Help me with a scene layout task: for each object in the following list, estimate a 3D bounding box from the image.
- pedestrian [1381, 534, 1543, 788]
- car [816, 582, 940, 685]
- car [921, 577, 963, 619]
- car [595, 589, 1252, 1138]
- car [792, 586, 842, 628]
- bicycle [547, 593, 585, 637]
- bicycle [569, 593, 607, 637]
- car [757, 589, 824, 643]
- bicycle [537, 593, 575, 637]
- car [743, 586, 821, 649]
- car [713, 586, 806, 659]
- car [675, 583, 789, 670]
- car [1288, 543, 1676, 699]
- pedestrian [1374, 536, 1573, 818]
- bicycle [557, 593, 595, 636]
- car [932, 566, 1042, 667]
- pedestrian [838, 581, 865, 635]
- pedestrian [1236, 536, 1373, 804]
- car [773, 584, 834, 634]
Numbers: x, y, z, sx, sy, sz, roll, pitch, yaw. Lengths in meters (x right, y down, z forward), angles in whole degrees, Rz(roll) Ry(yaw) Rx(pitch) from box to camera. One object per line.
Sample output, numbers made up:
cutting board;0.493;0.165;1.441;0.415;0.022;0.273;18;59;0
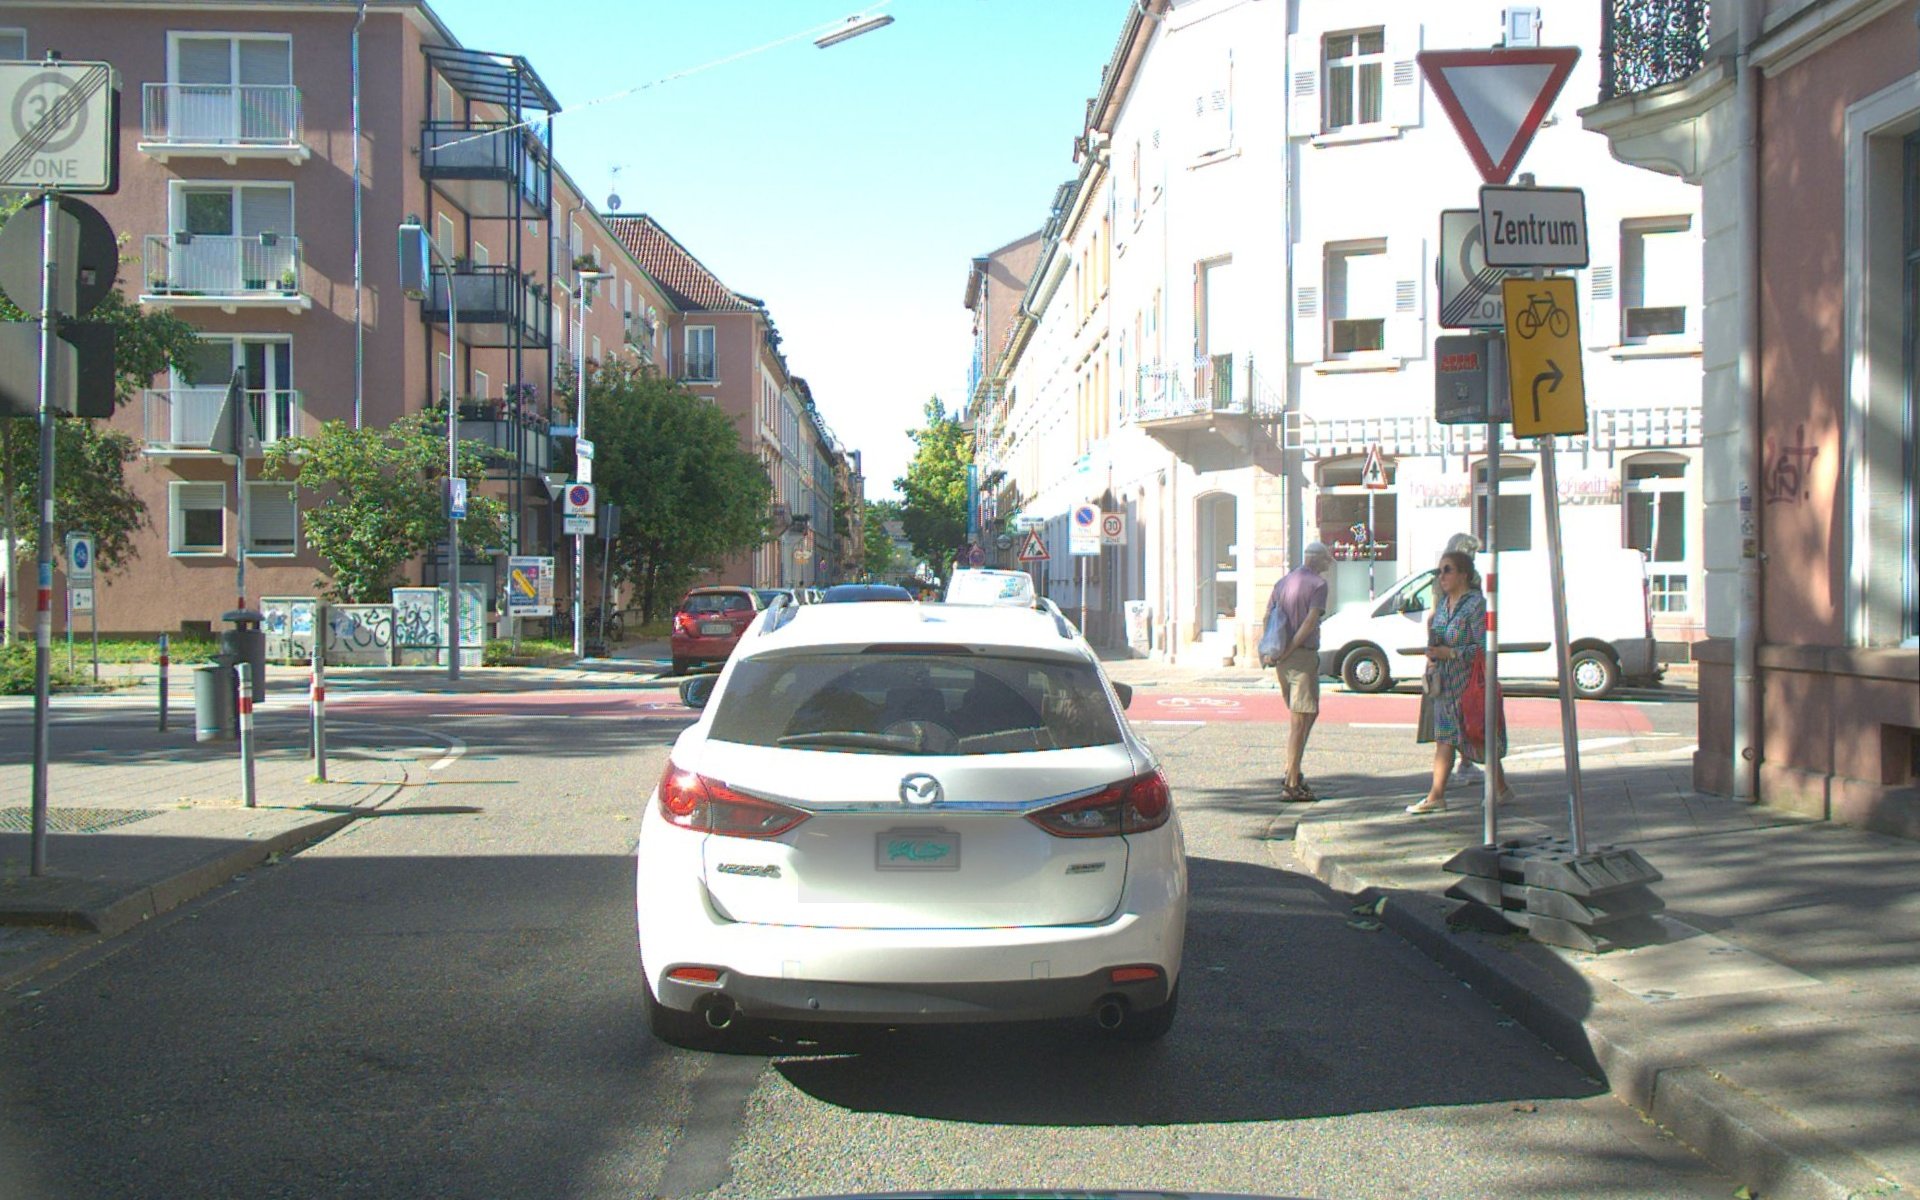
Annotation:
pedestrian;3.563;0.432;11.790;0.819;1.696;0.626;-4;-2;-1
car;-1.174;0.452;25.196;1.725;1.434;4.327;0;0;-1
car;-0.822;-0.110;75.686;1.856;1.891;3.994;0;0;-1
car;-0.127;0.705;6.512;1.794;1.482;3.961;0;0;-1
car;-5.418;0.243;63.143;1.620;1.526;3.762;0;0;-1
bicycle;-9.995;0.375;41.969;1.193;1.089;0.252;0;0;38
bicycle;-9.540;0.380;42.392;1.196;1.090;0.252;0;0;38
car;-4.945;0.445;48.630;1.620;1.526;3.762;0;0;-1
bicycle;-10.187;0.368;41.685;1.193;1.091;0.265;0;0;38
car;-4.457;0.412;41.895;1.620;1.526;3.762;0;0;-1
car;-4.404;0.451;36.800;1.620;1.526;4.079;0;0;-1
car;-4.169;0.446;30.721;1.650;1.526;3.806;0;0;-1
car;7.173;0.261;22.851;4.906;1.980;2.051;0;0;21
pedestrian;3.166;0.460;10.281;0.827;1.600;0.846;-5;-1;-1
bicycle;-9.804;0.371;42.226;1.193;1.090;0.252;0;0;38
car;0.479;0.296;34.538;1.857;1.891;5.010;2;0;-4
pedestrian;-3.374;0.239;51.348;0.720;1.642;0.813;-1;0;-14
pedestrian;2.410;0.470;11.639;0.734;1.795;0.830;-2;0;-1
car;-4.976;0.262;52.935;1.620;1.526;3.762;0;0;-1
